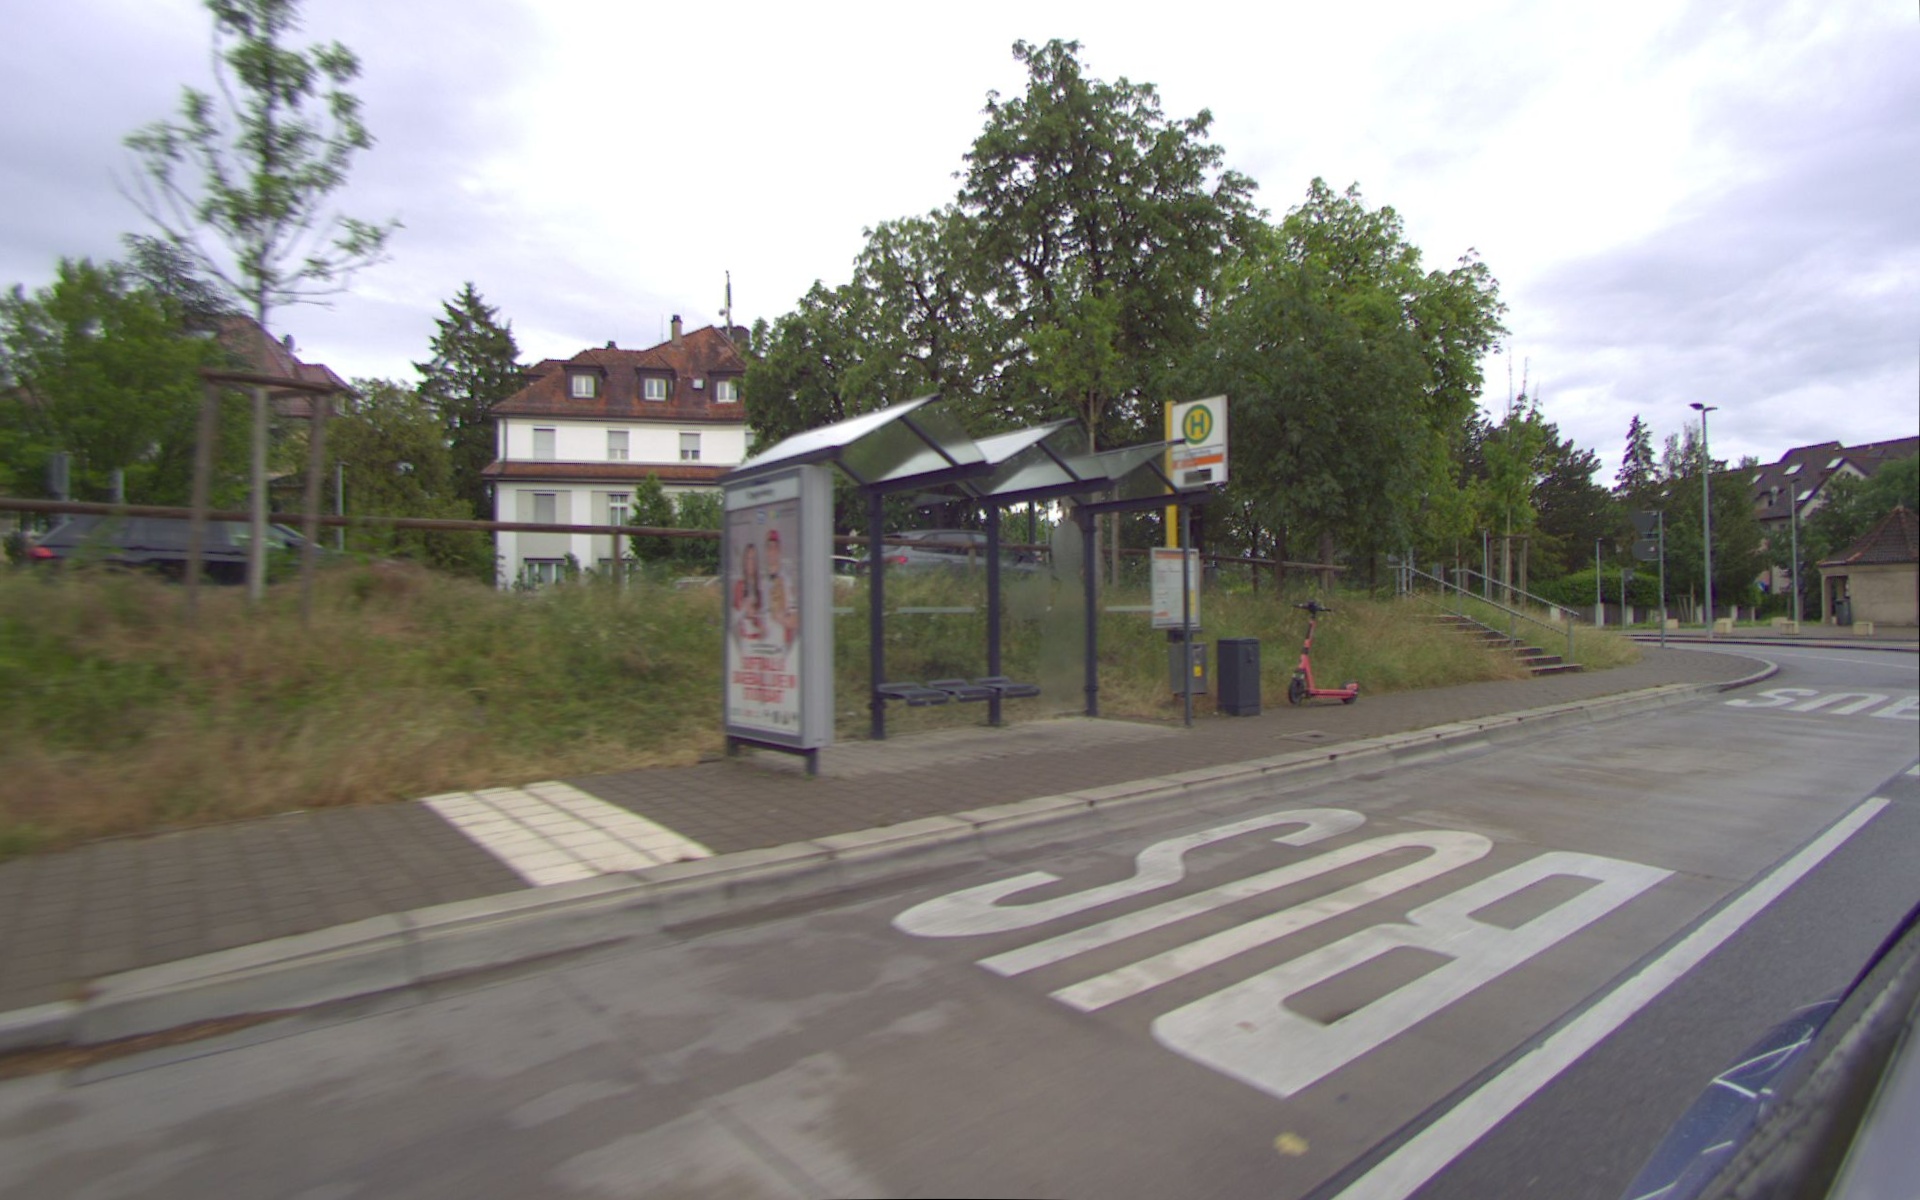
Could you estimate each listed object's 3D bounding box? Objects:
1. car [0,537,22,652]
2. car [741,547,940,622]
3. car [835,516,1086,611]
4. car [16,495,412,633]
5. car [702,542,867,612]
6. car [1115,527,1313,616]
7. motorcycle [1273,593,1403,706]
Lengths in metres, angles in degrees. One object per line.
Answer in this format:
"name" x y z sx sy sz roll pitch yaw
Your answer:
"car" -16.392 -0.068 14.239 4.386 1.684 1.999 0 -3 -34
"car" -2.655 -0.344 22.717 3.990 1.499 1.891 -2 -2 -33
"car" 0.050 -0.652 18.762 4.202 1.499 2.000 -2 -2 -33
"car" -10.574 -0.437 14.763 4.386 1.684 1.999 0 -3 -34
"car" -4.736 -0.576 27.401 3.923 1.684 1.999 0 -3 -34
"car" 5.520 -0.560 21.874 3.923 1.684 1.999 0 -3 -34
"motorcycle" 4.622 0.570 12.367 1.506 1.305 0.592 0 0 -24
